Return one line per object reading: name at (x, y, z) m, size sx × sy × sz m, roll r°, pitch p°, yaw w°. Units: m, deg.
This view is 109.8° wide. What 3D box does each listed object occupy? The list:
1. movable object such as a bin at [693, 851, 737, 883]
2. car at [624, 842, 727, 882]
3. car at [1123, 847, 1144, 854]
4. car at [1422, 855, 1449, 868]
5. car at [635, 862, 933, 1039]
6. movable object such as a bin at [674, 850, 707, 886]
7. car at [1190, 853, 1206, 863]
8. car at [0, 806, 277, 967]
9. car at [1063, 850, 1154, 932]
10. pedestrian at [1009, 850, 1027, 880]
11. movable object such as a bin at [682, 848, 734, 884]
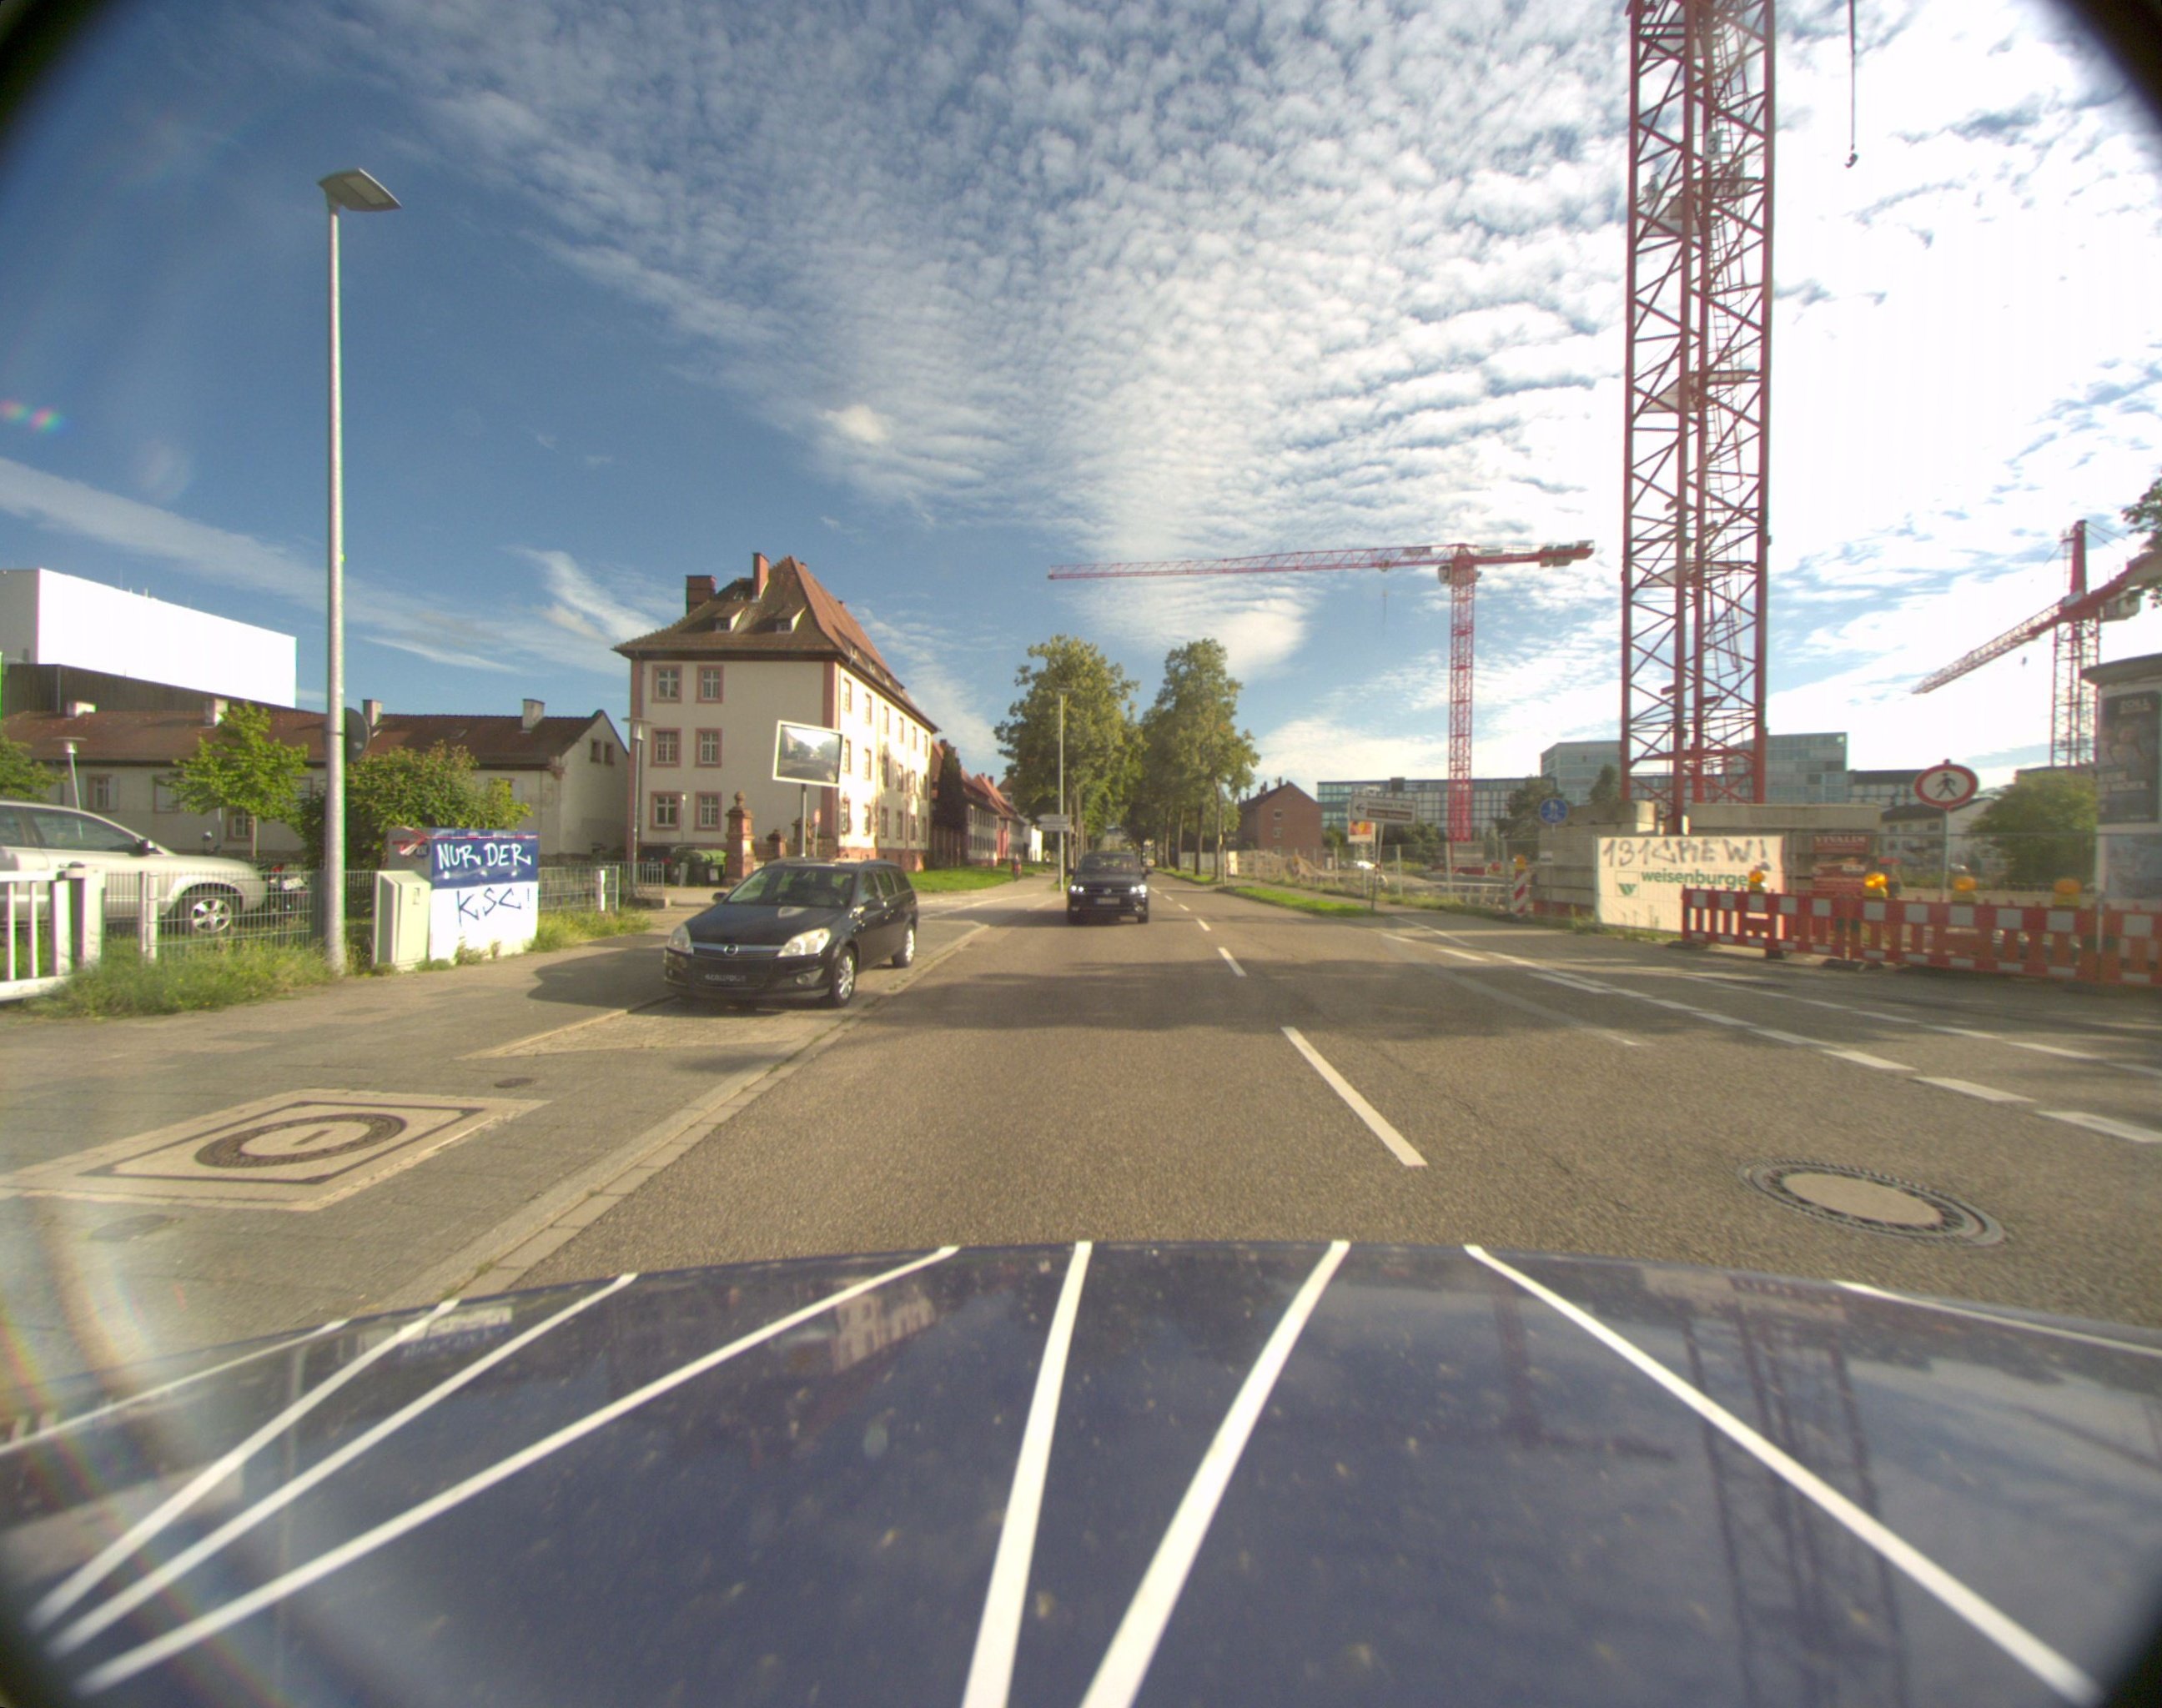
movable object such as a bin at (-14.236, 0.497, 29.563) m, size 1.193 × 1.224 × 1.093 m, roll 0°, pitch 1°, yaw -2°
car at (-18.339, 0.336, 34.637) m, size 1.998 × 1.598 × 4.506 m, roll 2°, pitch 0°, yaw 4°
car at (14.896, -0.992, 216.010) m, size 2.483 × 1.856 × 6.234 m, roll -1°, pitch 1°, yaw -42°
car at (52.365, 1.043, 112.285) m, size 1.817 × 1.797 × 3.982 m, roll 0°, pitch 2°, yaw -4°
car at (-3.100, 0.893, 8.982) m, size 1.721 × 1.487 × 4.268 m, roll 0°, pitch 1°, yaw 2°
movable object such as a bin at (-15.384, 0.538, 29.976) m, size 0.832 × 1.415 × 0.942 m, roll 0°, pitch 1°, yaw -2°
car at (17.850, 0.587, 115.782) m, size 1.998 × 1.421 × 4.508 m, roll 1°, pitch 1°, yaw 4°
car at (-12.071, 0.304, 8.340) m, size 1.998 × 1.656 × 4.152 m, roll 2°, pitch 0°, yaw 2°
car at (0.661, 0.756, 17.381) m, size 1.821 × 1.648 × 4.244 m, roll 0°, pitch 0°, yaw 3°
pedestrian at (-3.458, 0.604, 41.760) m, size 0.816 × 1.581 × 0.769 m, roll 3°, pitch 1°, yaw 1°
movable object such as a bin at (-15.453, 0.497, 31.543) m, size 1.417 × 1.451 × 1.544 m, roll 0°, pitch 1°, yaw -2°
